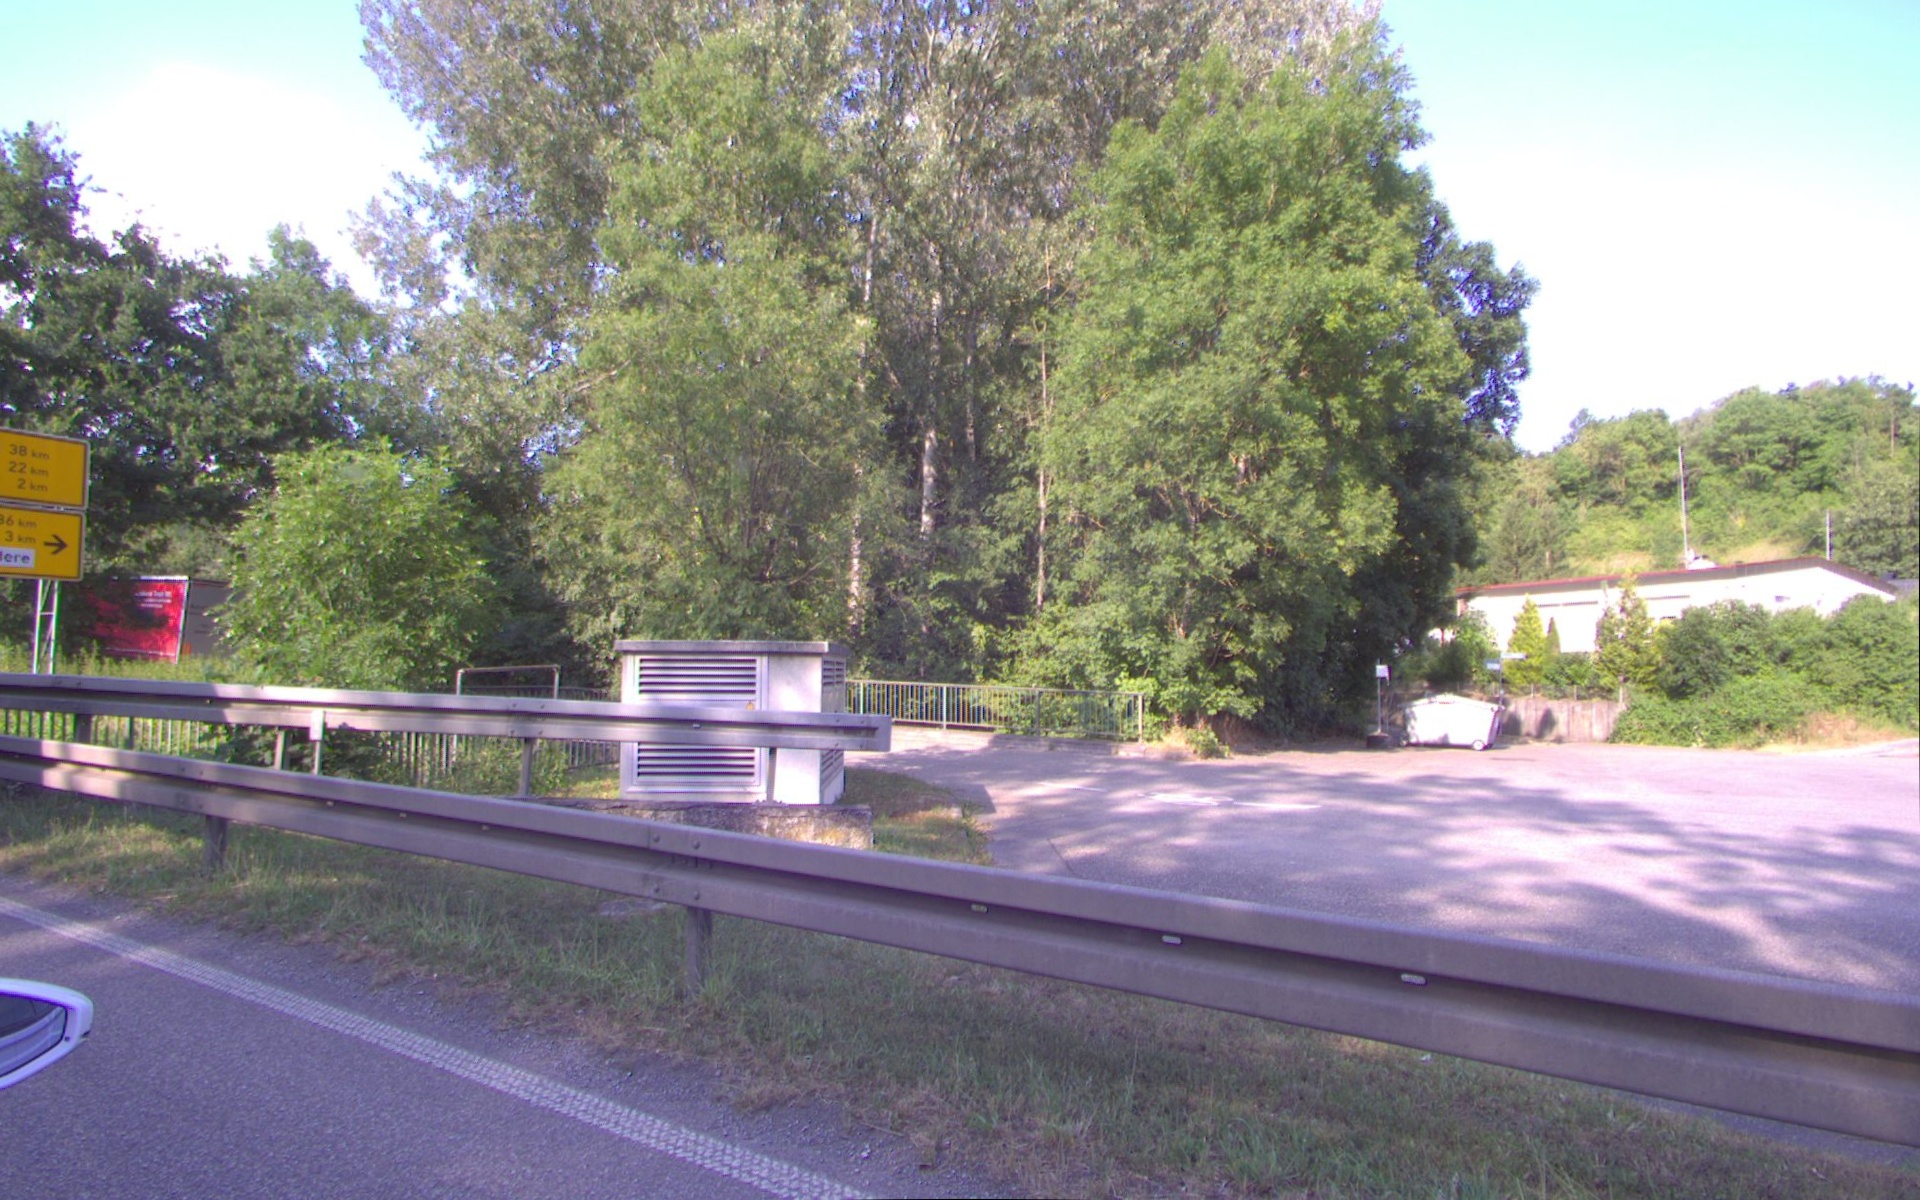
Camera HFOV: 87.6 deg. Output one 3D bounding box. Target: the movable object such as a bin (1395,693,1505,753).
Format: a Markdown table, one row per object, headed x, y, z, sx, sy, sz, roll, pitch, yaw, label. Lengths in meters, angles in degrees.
| x | y | z | sx | sy | sz | roll | pitch | yaw | label |
| --- | --- | --- | --- | --- | --- | --- | --- | --- | --- |
| 13.058 | 3.258 | 26.709 | 2.521 | 1.436 | 1.265 | -1 | -6 | 32 | movable object such as a bin |
